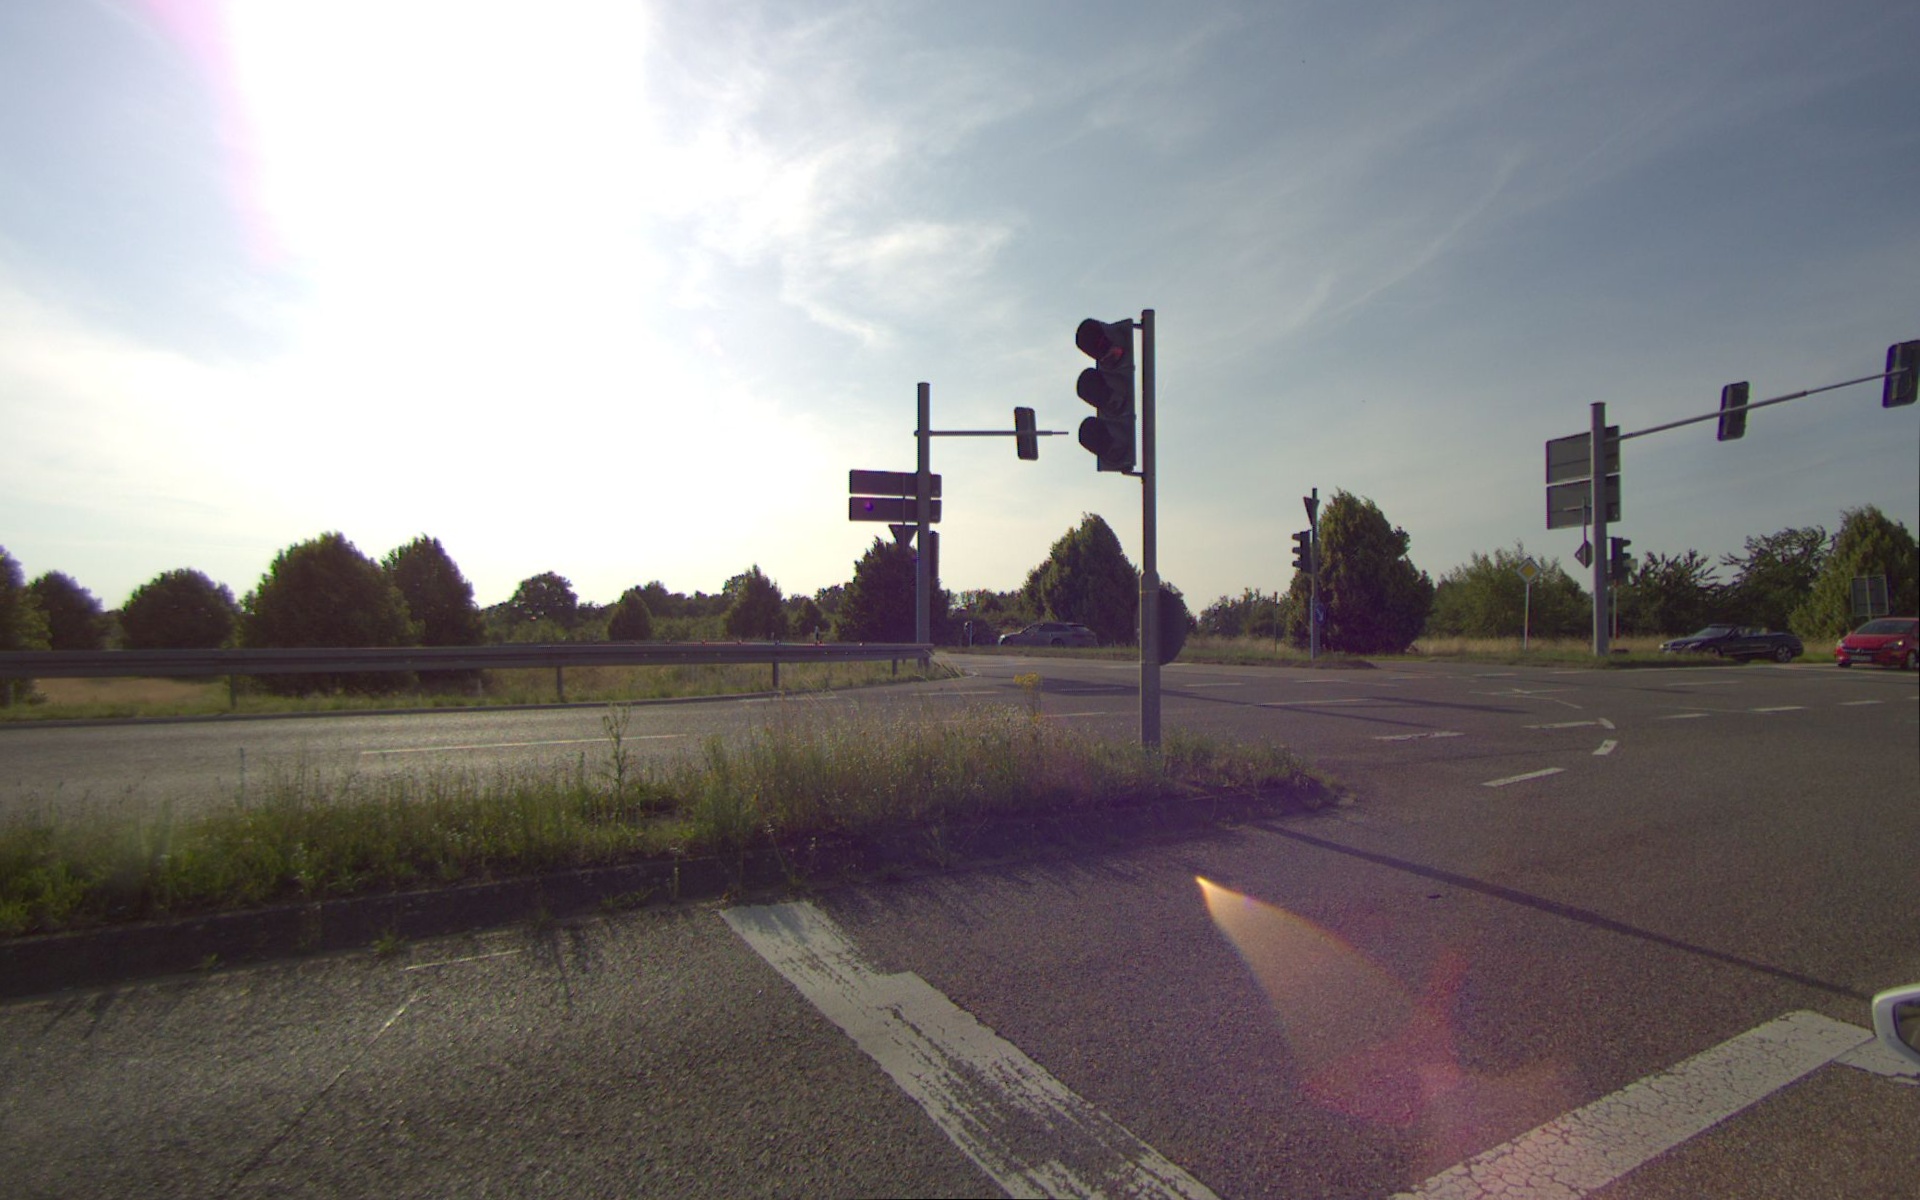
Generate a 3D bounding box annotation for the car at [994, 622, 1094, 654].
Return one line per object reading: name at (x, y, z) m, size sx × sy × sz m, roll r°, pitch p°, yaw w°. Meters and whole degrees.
car at (3.694, 1.668, 44.685) m, size 4.609 × 1.309 × 1.432 m, roll -1°, pitch -2°, yaw 44°

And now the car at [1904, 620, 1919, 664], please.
car at (33.407, 1.400, 33.308) m, size 3.997 × 1.452 × 1.780 m, roll 1°, pitch -1°, yaw -26°

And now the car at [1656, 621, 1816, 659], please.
car at (27.157, 1.389, 35.206) m, size 4.577 × 1.299 × 1.724 m, roll 1°, pitch -1°, yaw -8°

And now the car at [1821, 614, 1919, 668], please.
car at (27.381, 1.201, 29.574) m, size 3.752 × 1.508 × 1.716 m, roll 1°, pitch -1°, yaw -25°

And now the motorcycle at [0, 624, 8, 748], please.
motorcycle at (-9.653, 0.785, 8.532) m, size 2.150 × 1.139 × 0.931 m, roll 1°, pitch 0°, yaw -37°
